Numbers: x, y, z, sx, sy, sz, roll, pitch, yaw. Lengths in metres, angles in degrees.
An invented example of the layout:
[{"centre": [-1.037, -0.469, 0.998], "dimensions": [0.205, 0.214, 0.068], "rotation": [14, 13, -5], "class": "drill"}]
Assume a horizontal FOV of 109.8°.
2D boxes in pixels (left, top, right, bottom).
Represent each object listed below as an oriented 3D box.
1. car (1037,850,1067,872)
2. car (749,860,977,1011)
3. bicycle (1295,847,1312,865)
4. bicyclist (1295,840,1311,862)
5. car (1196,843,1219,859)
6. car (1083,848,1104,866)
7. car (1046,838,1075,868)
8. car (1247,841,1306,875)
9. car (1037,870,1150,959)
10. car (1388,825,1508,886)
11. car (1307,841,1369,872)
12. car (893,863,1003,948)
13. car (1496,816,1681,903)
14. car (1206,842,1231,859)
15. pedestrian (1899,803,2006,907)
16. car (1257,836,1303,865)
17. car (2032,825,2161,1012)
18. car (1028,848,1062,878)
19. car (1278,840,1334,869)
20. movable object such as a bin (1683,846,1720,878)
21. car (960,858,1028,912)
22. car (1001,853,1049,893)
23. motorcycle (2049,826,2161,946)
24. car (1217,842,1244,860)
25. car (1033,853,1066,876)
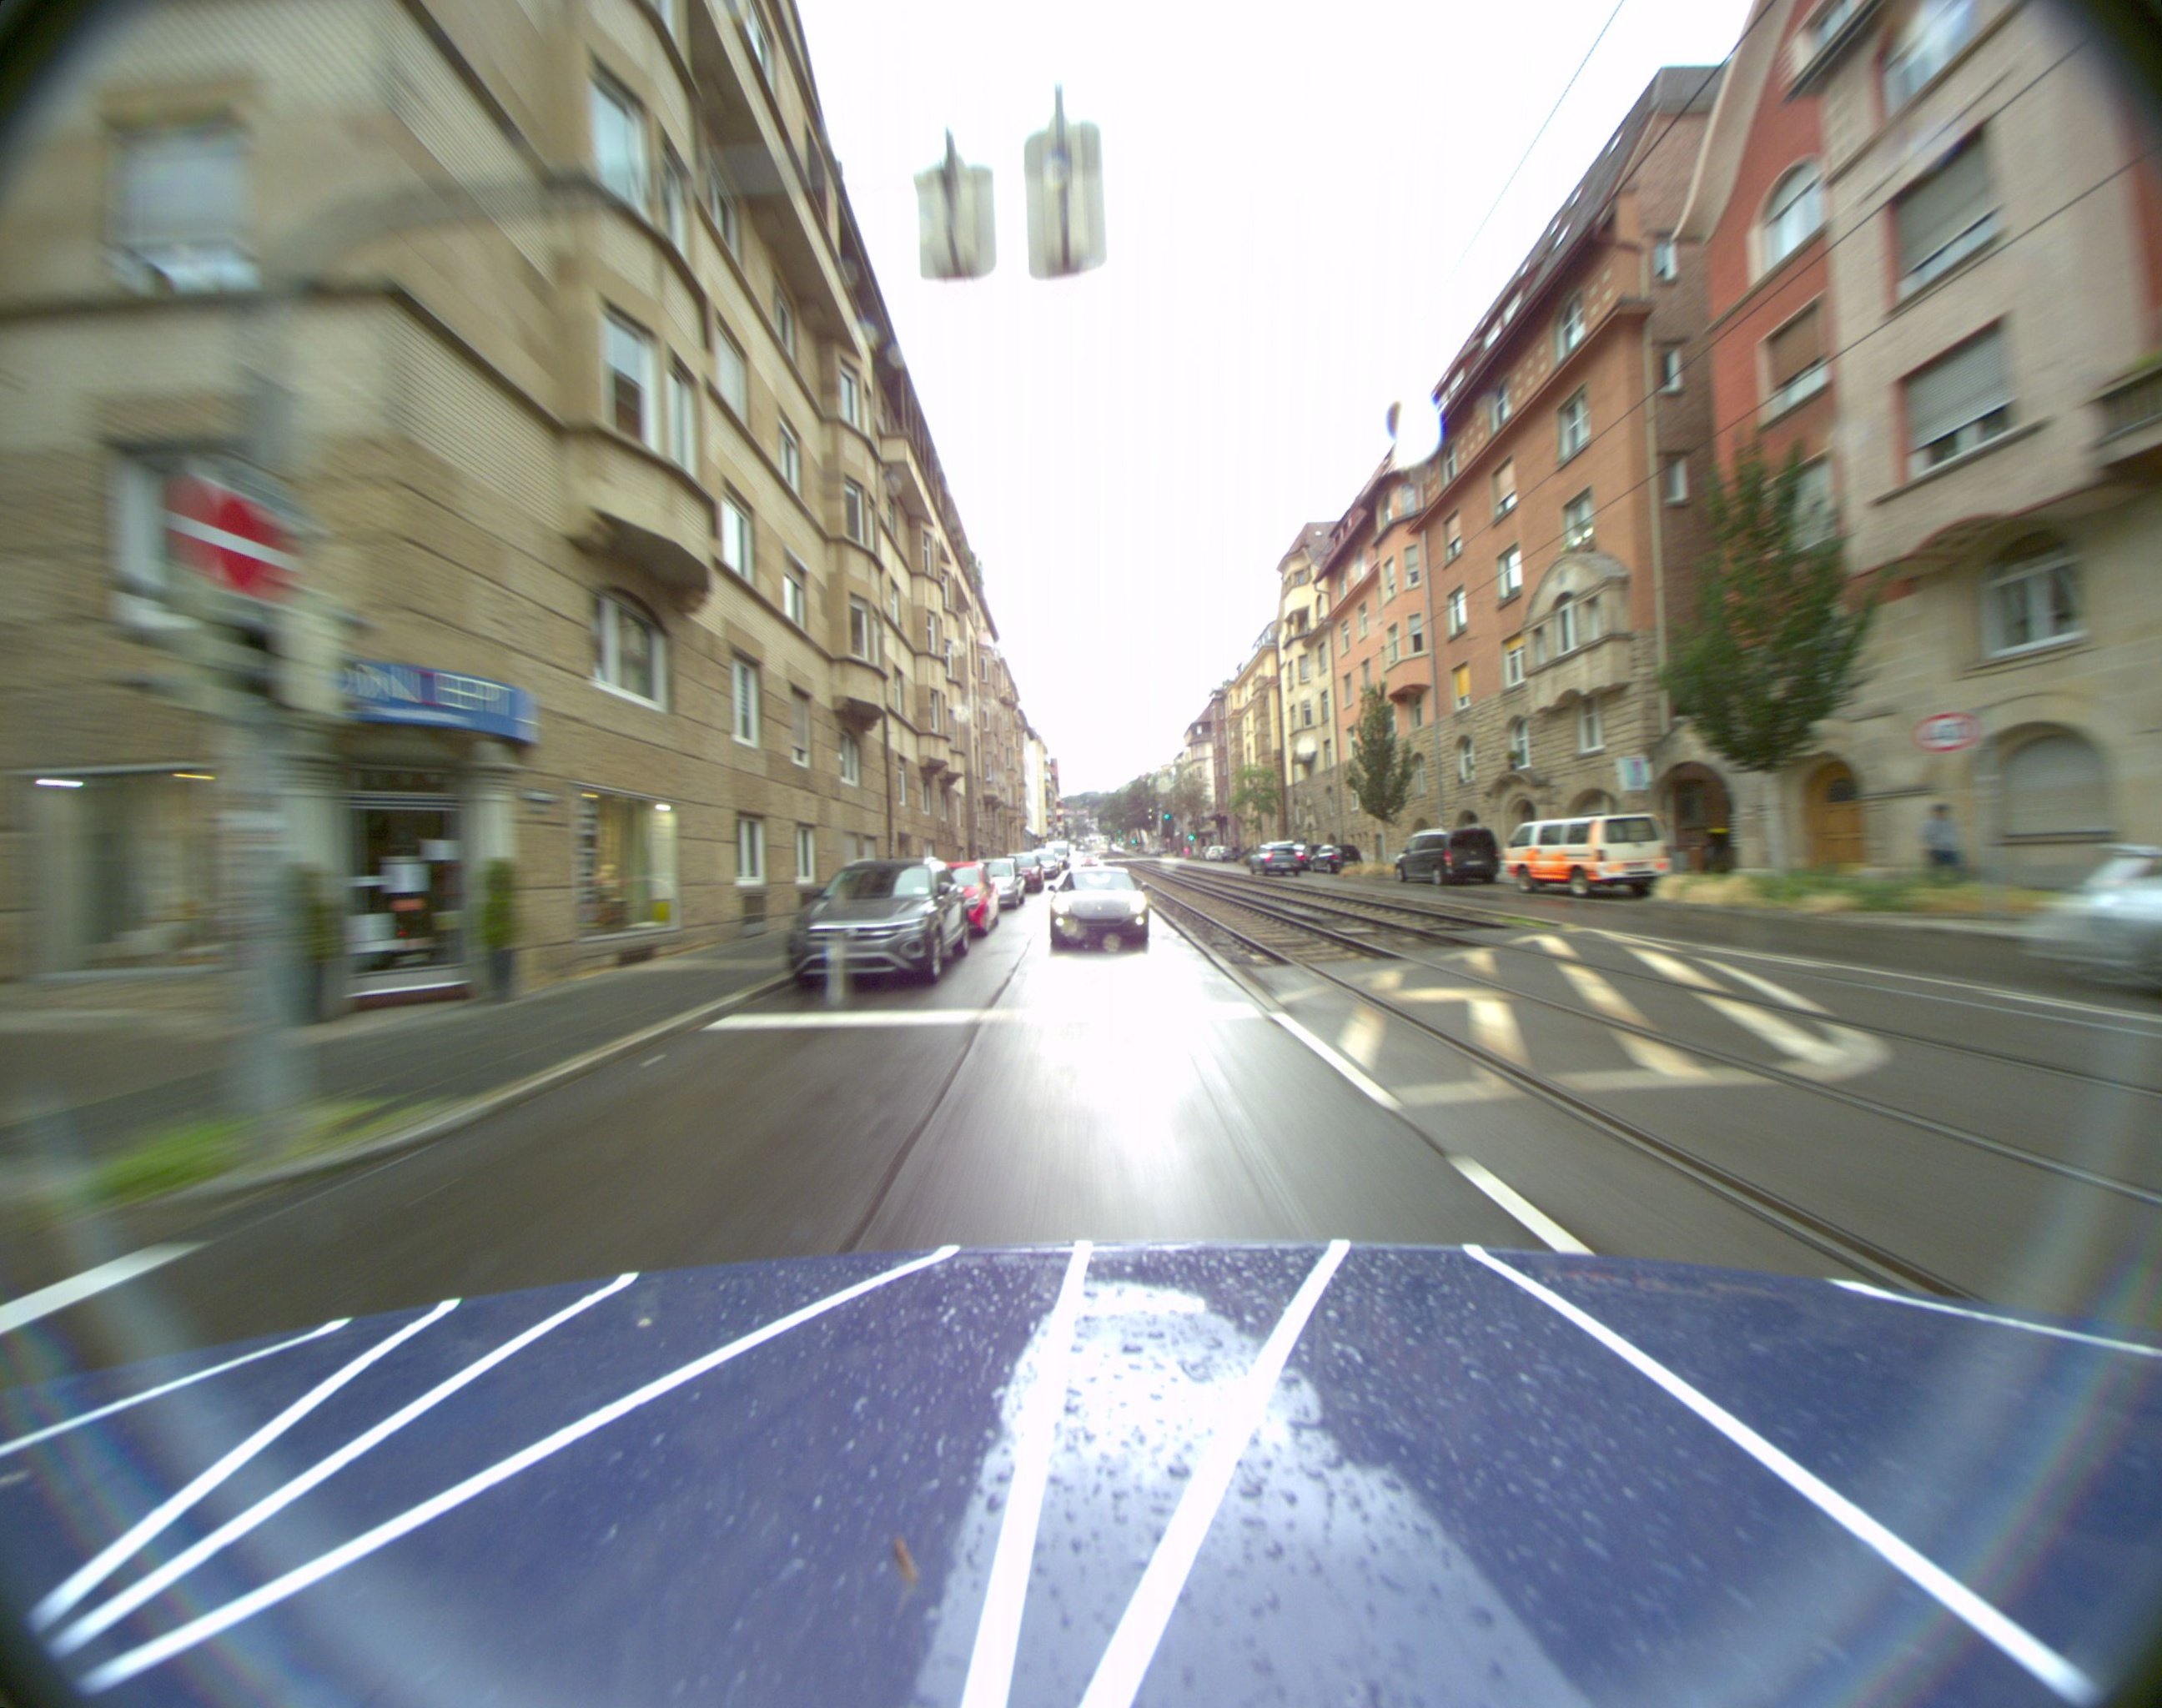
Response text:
[{"centre": [-2.175, 0.529, 57.854], "dimensions": [1.935, 1.516, 4.058], "rotation": [-3, 1, 1], "class": "car"}, {"centre": [-2.721, 0.934, 10.528], "dimensions": [1.872, 1.540, 3.991], "rotation": [-3, 1, 1], "class": "car"}, {"centre": [16.137, 0.145, 55.170], "dimensions": [0.694, 1.215, 2.052], "rotation": [-2, 1, 1], "class": "bicycle"}, {"centre": [16.143, -0.212, 55.182], "dimensions": [0.894, 1.592, 0.774], "rotation": [-2, 1, 1], "class": "bicyclist"}, {"centre": [13.147, -0.320, 79.170], "dimensions": [1.759, 1.419, 3.712], "rotation": [-5, 1, 2], "class": "car"}, {"centre": [1.166, 0.239, 68.100], "dimensions": [1.793, 1.459, 4.257], "rotation": [-2, 1, 1], "class": "car"}, {"centre": [-1.818, -0.113, 68.546], "dimensions": [1.991, 2.520, 6.154], "rotation": [-3, 1, 3], "class": "car"}, {"centre": [10.029, 0.142, 39.319], "dimensions": [1.926, 1.608, 4.128], "rotation": [-2, 1, -1], "class": "car"}, {"centre": [0.236, 0.979, 13.860], "dimensions": [1.737, 1.262, 4.258], "rotation": [0, 0, 1], "class": "car"}, {"centre": [12.786, -0.003, 26.886], "dimensions": [1.910, 1.919, 4.831], "rotation": [-2, 1, 0], "class": "car"}, {"centre": [13.118, 0.076, 38.974], "dimensions": [1.760, 1.396, 3.694], "rotation": [-4, 1, -2], "class": "car"}, {"centre": [-2.667, 0.991, 15.988], "dimensions": [1.710, 1.444, 3.532], "rotation": [-3, 1, -1], "class": "car"}, {"centre": [12.783, 0.089, 19.539], "dimensions": [1.732, 1.919, 4.475], "rotation": [-2, 1, 0], "class": "car"}, {"centre": [13.360, -0.383, 74.259], "dimensions": [1.759, 1.443, 4.043], "rotation": [-5, 1, 2], "class": "car"}, {"centre": [15.427, 0.013, 13.480], "dimensions": [0.718, 1.710, 0.892], "rotation": [-7, 1, 1], "class": "pedestrian"}, {"centre": [12.973, -0.233, 49.772], "dimensions": [1.759, 1.663, 4.259], "rotation": [-5, 1, 0], "class": "car"}, {"centre": [9.636, 0.527, 4.947], "dimensions": [1.785, 1.494, 4.061], "rotation": [-2, 1, -1], "class": "car"}, {"centre": [-2.210, 0.539, 47.572], "dimensions": [1.811, 1.758, 3.962], "rotation": [-2, 1, 1], "class": "car"}, {"centre": [12.911, -0.029, 43.880], "dimensions": [1.760, 1.482, 4.597], "rotation": [-4, 1, -1], "class": "car"}, {"centre": [17.695, 0.229, 21.681], "dimensions": [0.547, 0.893, 0.656], "rotation": [-2, 1, 4], "class": "movable object such as a bin"}, {"centre": [-2.610, 0.904, 23.497], "dimensions": [1.598, 1.478, 3.522], "rotation": [-1, 1, 1], "class": "car"}, {"centre": [-2.349, 0.763, 32.724], "dimensions": [1.774, 1.592, 3.999], "rotation": [-1, 1, 0], "class": "car"}, {"centre": [12.782, 0.356, 8.804], "dimensions": [1.779, 1.367, 0.769], "rotation": [-1, 2, 33], "class": "motorcycle"}, {"centre": [13.374, -0.306, 68.131], "dimensions": [1.717, 1.474, 3.712], "rotation": [-5, 1, 2], "class": "car"}, {"centre": [-2.145, 0.689, 52.584], "dimensions": [1.931, 1.380, 3.982], "rotation": [-3, 1, 1], "class": "car"}]
